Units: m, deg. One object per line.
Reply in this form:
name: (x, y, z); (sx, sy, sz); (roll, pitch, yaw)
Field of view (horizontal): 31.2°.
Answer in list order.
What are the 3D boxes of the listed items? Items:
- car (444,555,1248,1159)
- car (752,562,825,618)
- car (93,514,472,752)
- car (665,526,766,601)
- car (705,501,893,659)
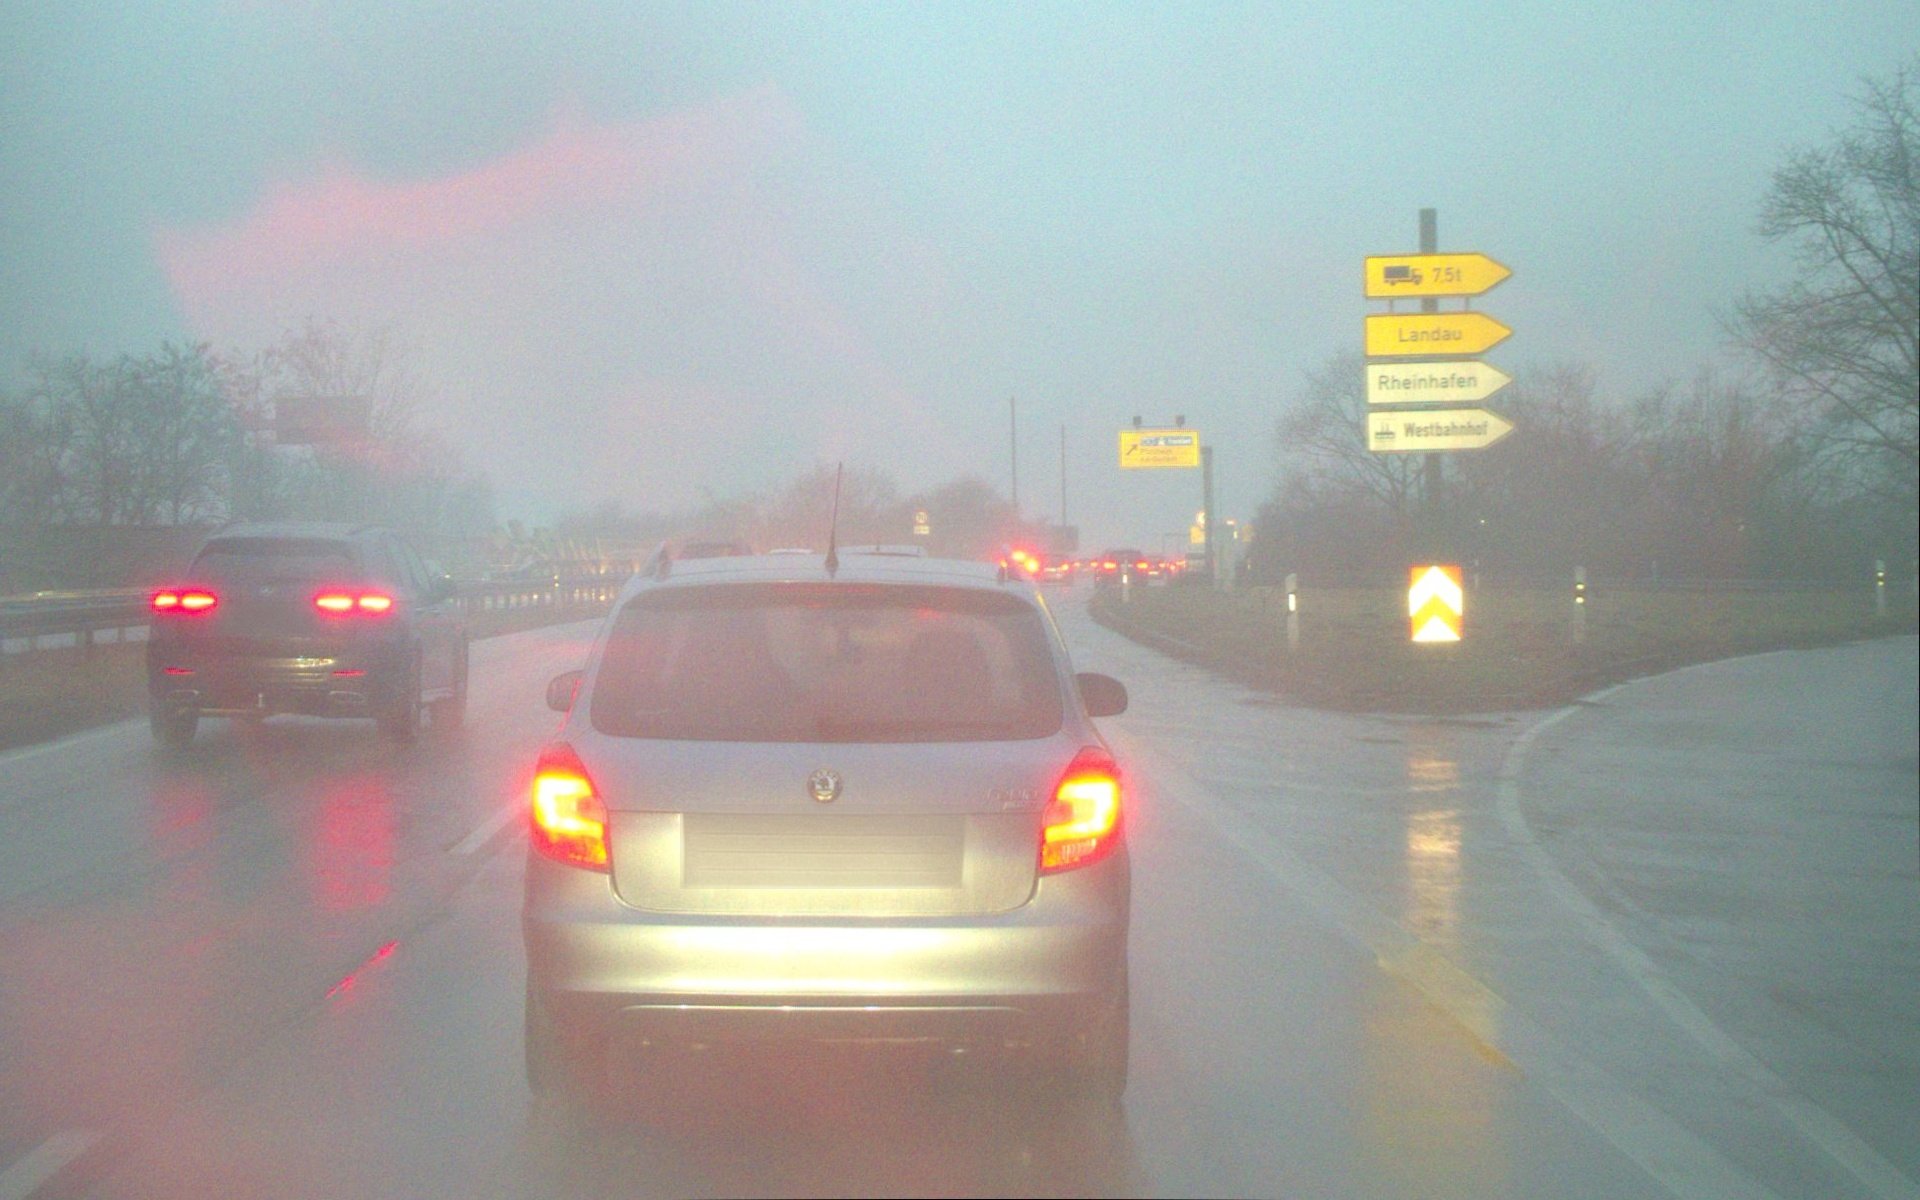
car: (-0.235, 0.628, 10.635); (1.993, 1.495, 4.137); (0, 0, 1)
car: (-4.873, -0.298, 98.008); (1.789, 1.540, 4.000); (-1, 1, 1)
car: (-4.989, 0.198, 25.922); (1.993, 1.596, 4.309); (1, 1, 0)
car: (-5.216, -0.800, 73.770); (1.789, 1.540, 4.000); (-1, 1, 1)
car: (-1.860, -0.273, 41.023); (1.897, 1.761, 4.308); (-1, 1, 1)
